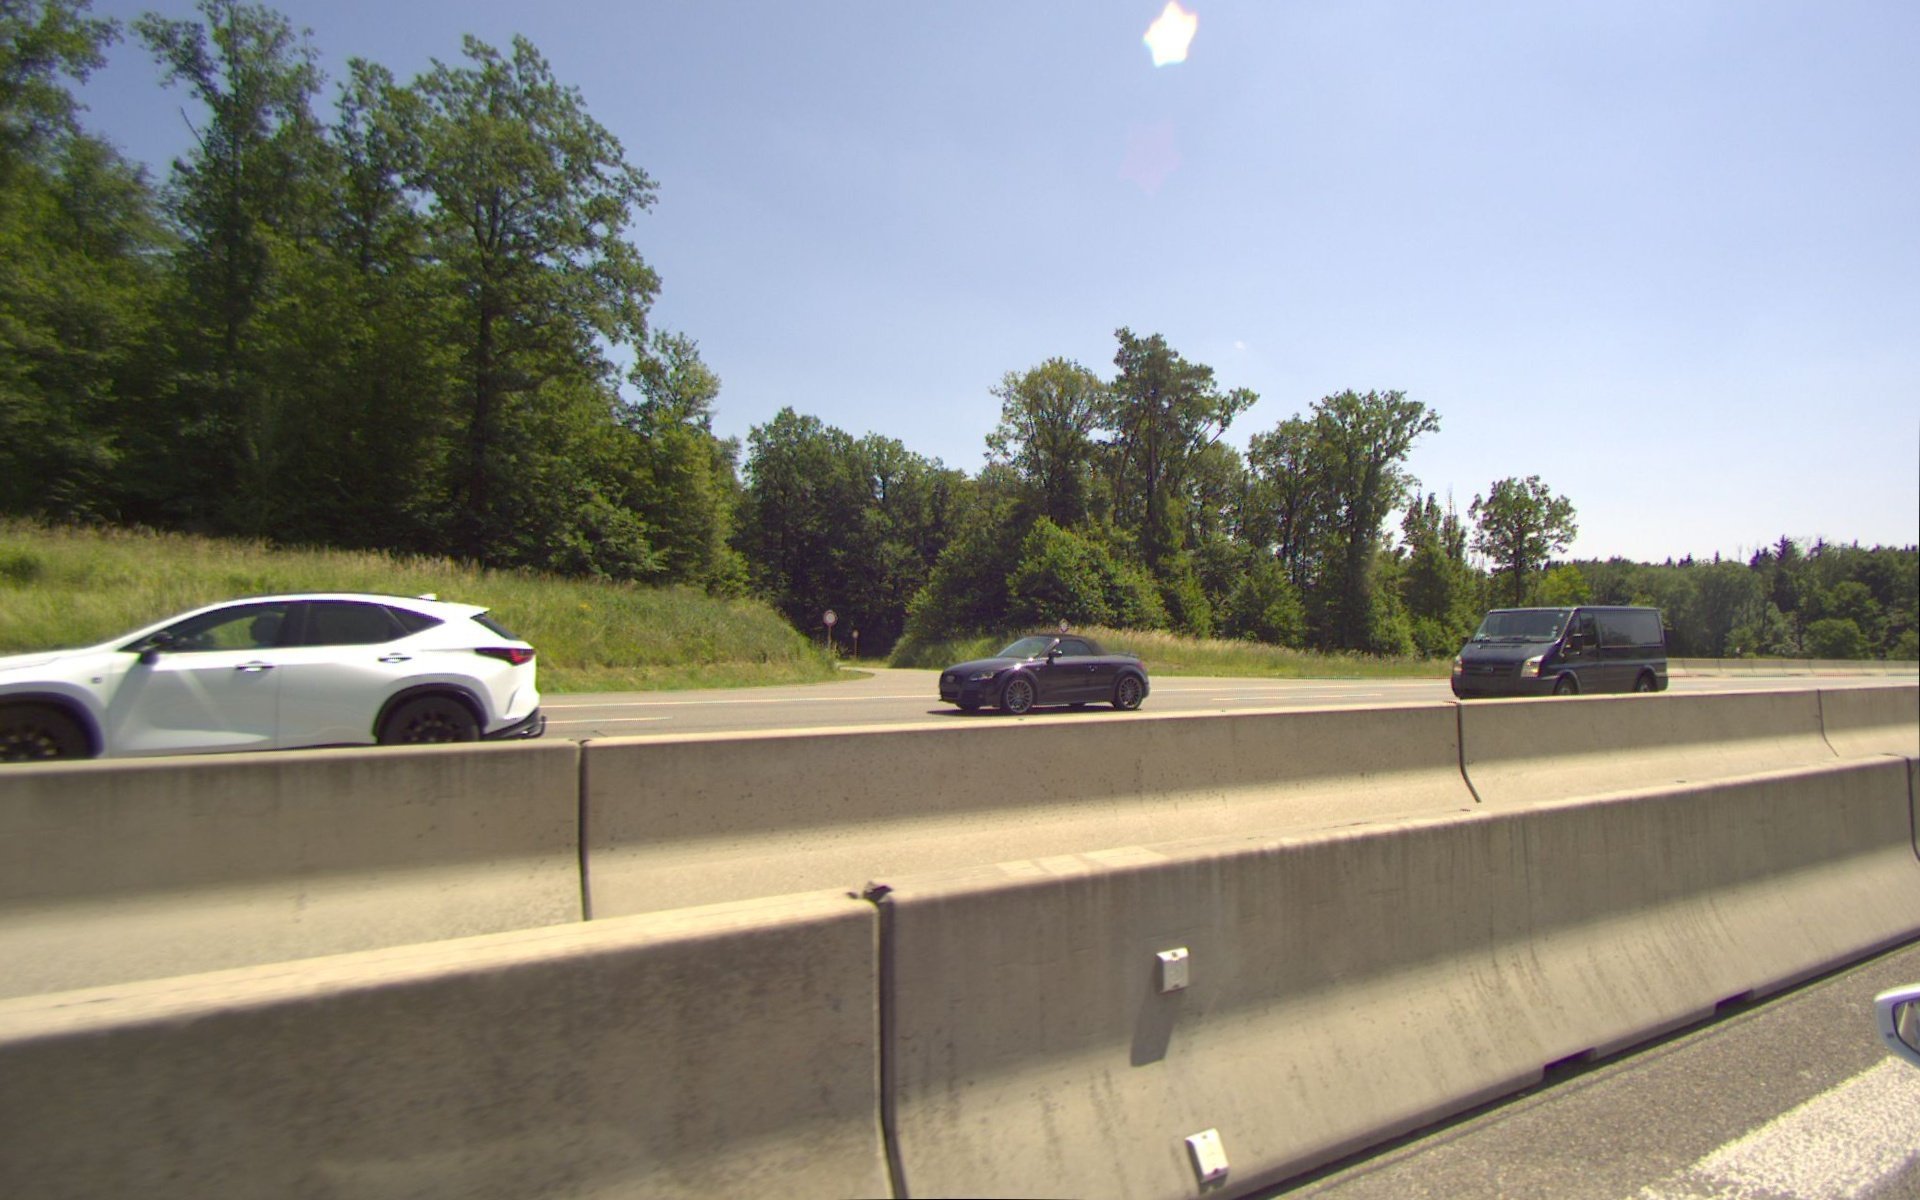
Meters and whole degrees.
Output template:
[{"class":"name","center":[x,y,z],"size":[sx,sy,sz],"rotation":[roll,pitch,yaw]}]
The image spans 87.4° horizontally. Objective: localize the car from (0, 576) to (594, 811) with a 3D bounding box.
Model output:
[{"class":"car","center":[-6.009,0.724,8.953],"size":[4.874,1.691,1.983],"rotation":[2,-1,-31]}]

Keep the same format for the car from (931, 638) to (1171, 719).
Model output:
[{"class":"car","center":[1.683,1.341,18.064],"size":[4.249,1.322,1.480],"rotation":[1,-3,-31]}]

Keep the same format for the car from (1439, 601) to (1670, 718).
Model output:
[{"class":"car","center":[11.734,1.109,19.735],"size":[4.760,2.040,1.982],"rotation":[2,-1,-33]}]
